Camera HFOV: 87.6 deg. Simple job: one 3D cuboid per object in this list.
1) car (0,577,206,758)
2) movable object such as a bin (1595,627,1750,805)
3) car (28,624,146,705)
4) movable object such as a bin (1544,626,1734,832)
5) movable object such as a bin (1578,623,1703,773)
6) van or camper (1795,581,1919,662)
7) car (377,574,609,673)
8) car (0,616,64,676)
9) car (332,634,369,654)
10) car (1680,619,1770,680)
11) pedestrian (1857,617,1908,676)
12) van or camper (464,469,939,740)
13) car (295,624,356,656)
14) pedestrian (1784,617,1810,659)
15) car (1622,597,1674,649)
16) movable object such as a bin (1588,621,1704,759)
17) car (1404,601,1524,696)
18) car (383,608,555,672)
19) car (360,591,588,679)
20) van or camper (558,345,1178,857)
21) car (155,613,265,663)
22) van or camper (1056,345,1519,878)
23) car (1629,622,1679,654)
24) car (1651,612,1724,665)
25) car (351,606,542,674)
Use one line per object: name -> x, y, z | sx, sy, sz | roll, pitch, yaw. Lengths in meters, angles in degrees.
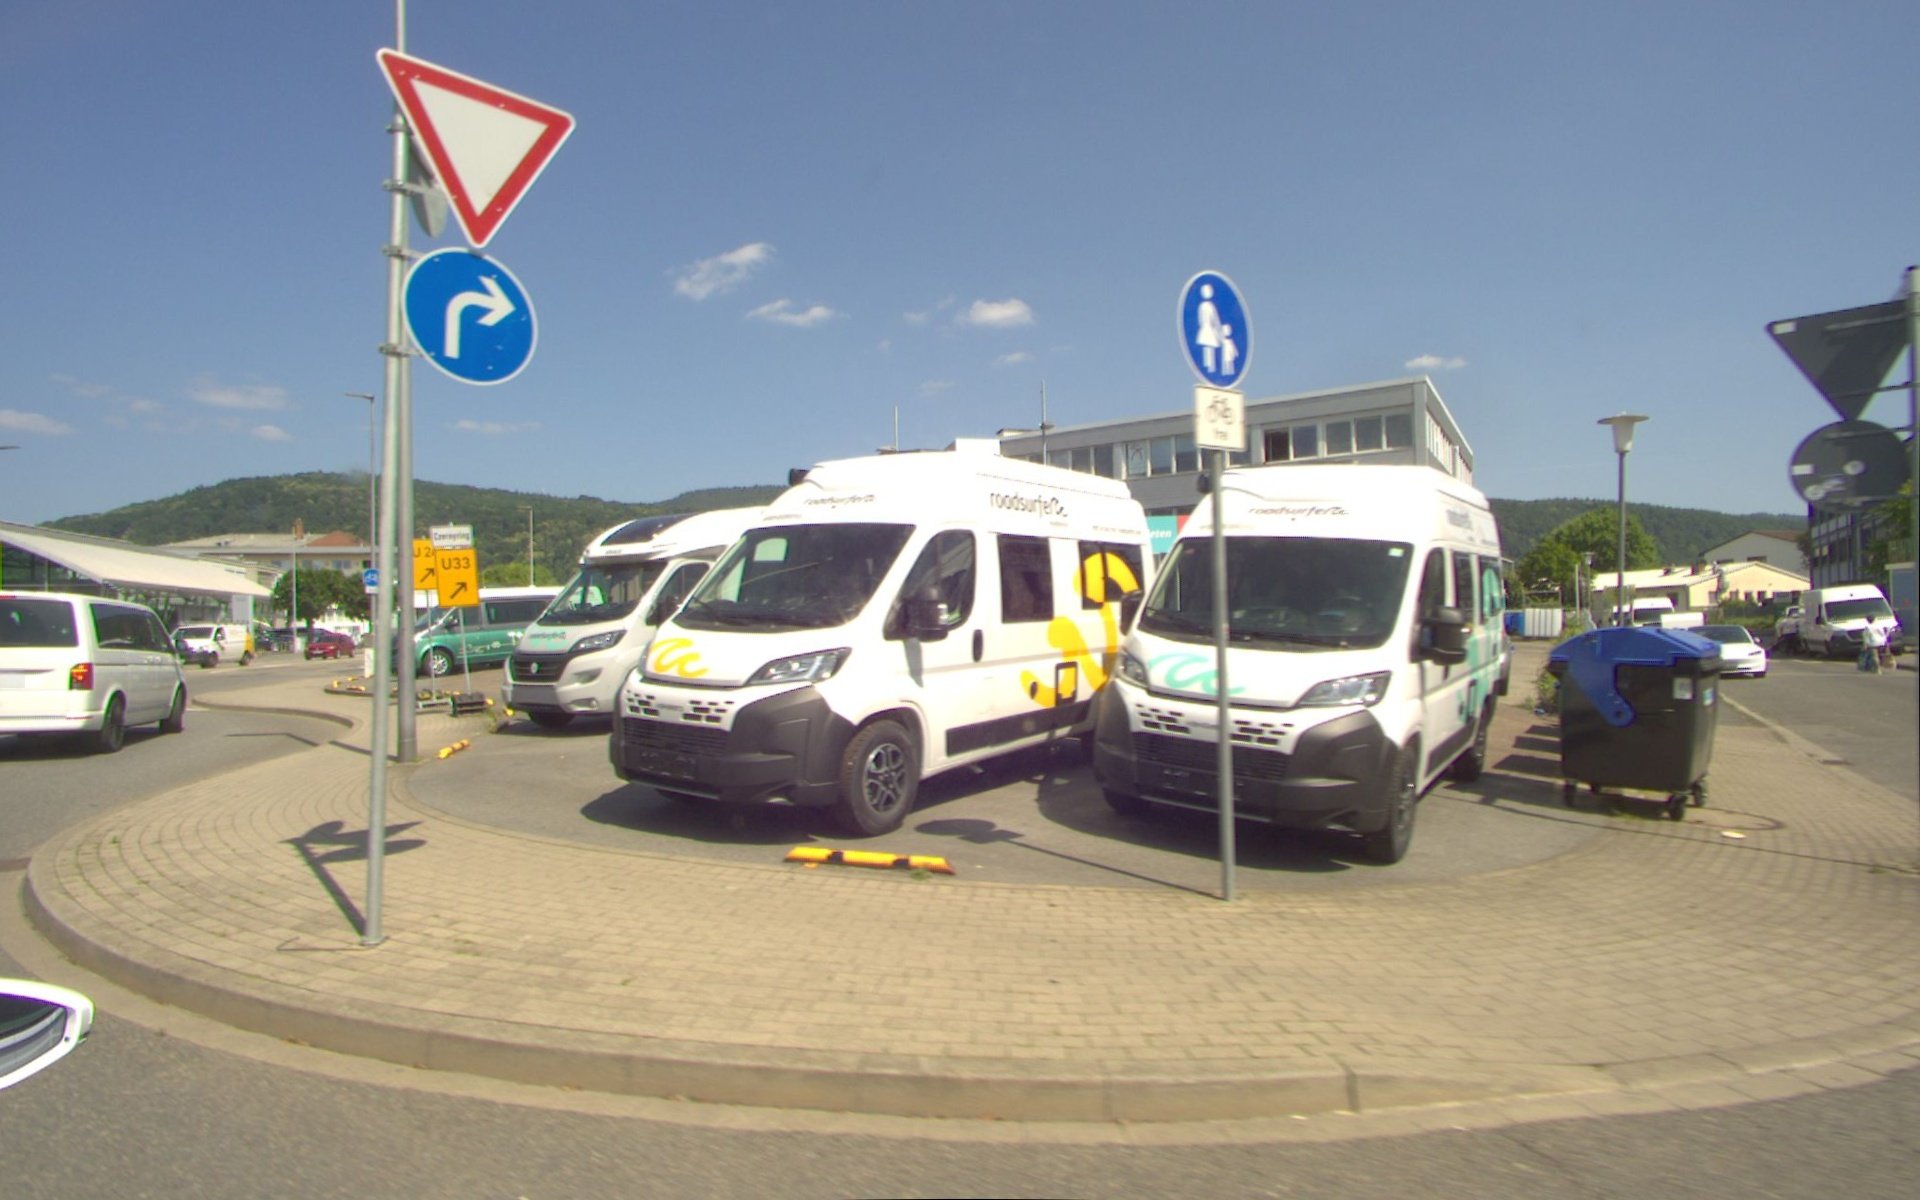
car -> -12.106, 0.841, 13.458 | 2.136, 2.039, 5.000 | 1, -2, -26
movable object such as a bin -> 6.567, 0.995, 9.212 | 1.008, 1.476, 1.279 | 1, 0, 42
car -> -20.892, 1.480, 24.113 | 1.978, 1.755, 4.527 | 1, -2, -39
movable object such as a bin -> 5.517, 0.963, 8.127 | 1.067, 1.476, 1.246 | 2, 0, 44
movable object such as a bin -> 7.435, 1.014, 10.924 | 1.007, 1.495, 1.230 | 1, 0, 39
van or camper -> 32.877, 0.826, 36.879 | 2.313, 2.713, 6.709 | -1, -2, 32
car -> -14.209, 0.707, 30.886 | 2.279, 2.752, 6.111 | -1, -1, 39
car -> -32.074, 1.501, 32.573 | 1.896, 1.960, 4.830 | 0, -2, -6
car -> -50.971, 3.703, 83.779 | 3.622, 1.605, 1.736 | -2, -2, 43
car -> 21.582, 1.365, 28.377 | 1.869, 1.572, 3.976 | -1, -2, 35
pedestrian -> 25.205, 1.264, 27.363 | 0.871, 1.599, 0.786 | -1, -1, 32
van or camper -> -3.201, 0.060, 14.623 | 2.302, 2.985, 7.047 | -2, 0, 31
car -> -37.962, 2.384, 60.032 | 1.993, 1.861, 4.859 | 0, -2, -19
pedestrian -> 34.271, 1.561, 41.007 | 0.699, 1.709, 0.650 | -1, -1, 32
car -> 35.841, 1.226, 52.133 | 2.083, 2.558, 5.573 | -1, -2, 35
movable object such as a bin -> 8.410, 1.046, 12.260 | 1.051, 1.552, 1.324 | 1, 0, 39
car -> 9.464, 0.852, 18.775 | 1.788, 1.535, 3.881 | 2, 0, 28
car -> -17.311, 1.353, 35.499 | 5.099, 2.040, 1.912 | -1, -1, -44
car -> -12.959, 0.893, 27.039 | 2.071, 2.141, 5.191 | -1, -1, 37
van or camper -> -0.213, 0.046, 8.489 | 2.062, 2.810, 5.796 | 0, 0, 34
car -> -34.098, 1.701, 45.694 | 1.990, 2.142, 4.931 | 0, -1, -10
van or camper -> 3.061, 0.131, 8.188 | 2.020, 2.851, 5.492 | 1, -1, 35
car -> 32.527, 1.762, 46.922 | 1.869, 1.400, 3.976 | -1, -2, 35
car -> 25.799, 1.341, 35.604 | 1.974, 1.761, 4.273 | -1, -2, 35
car -> -16.501, 1.255, 32.382 | 2.003, 2.026, 5.116 | -3, -2, 42
